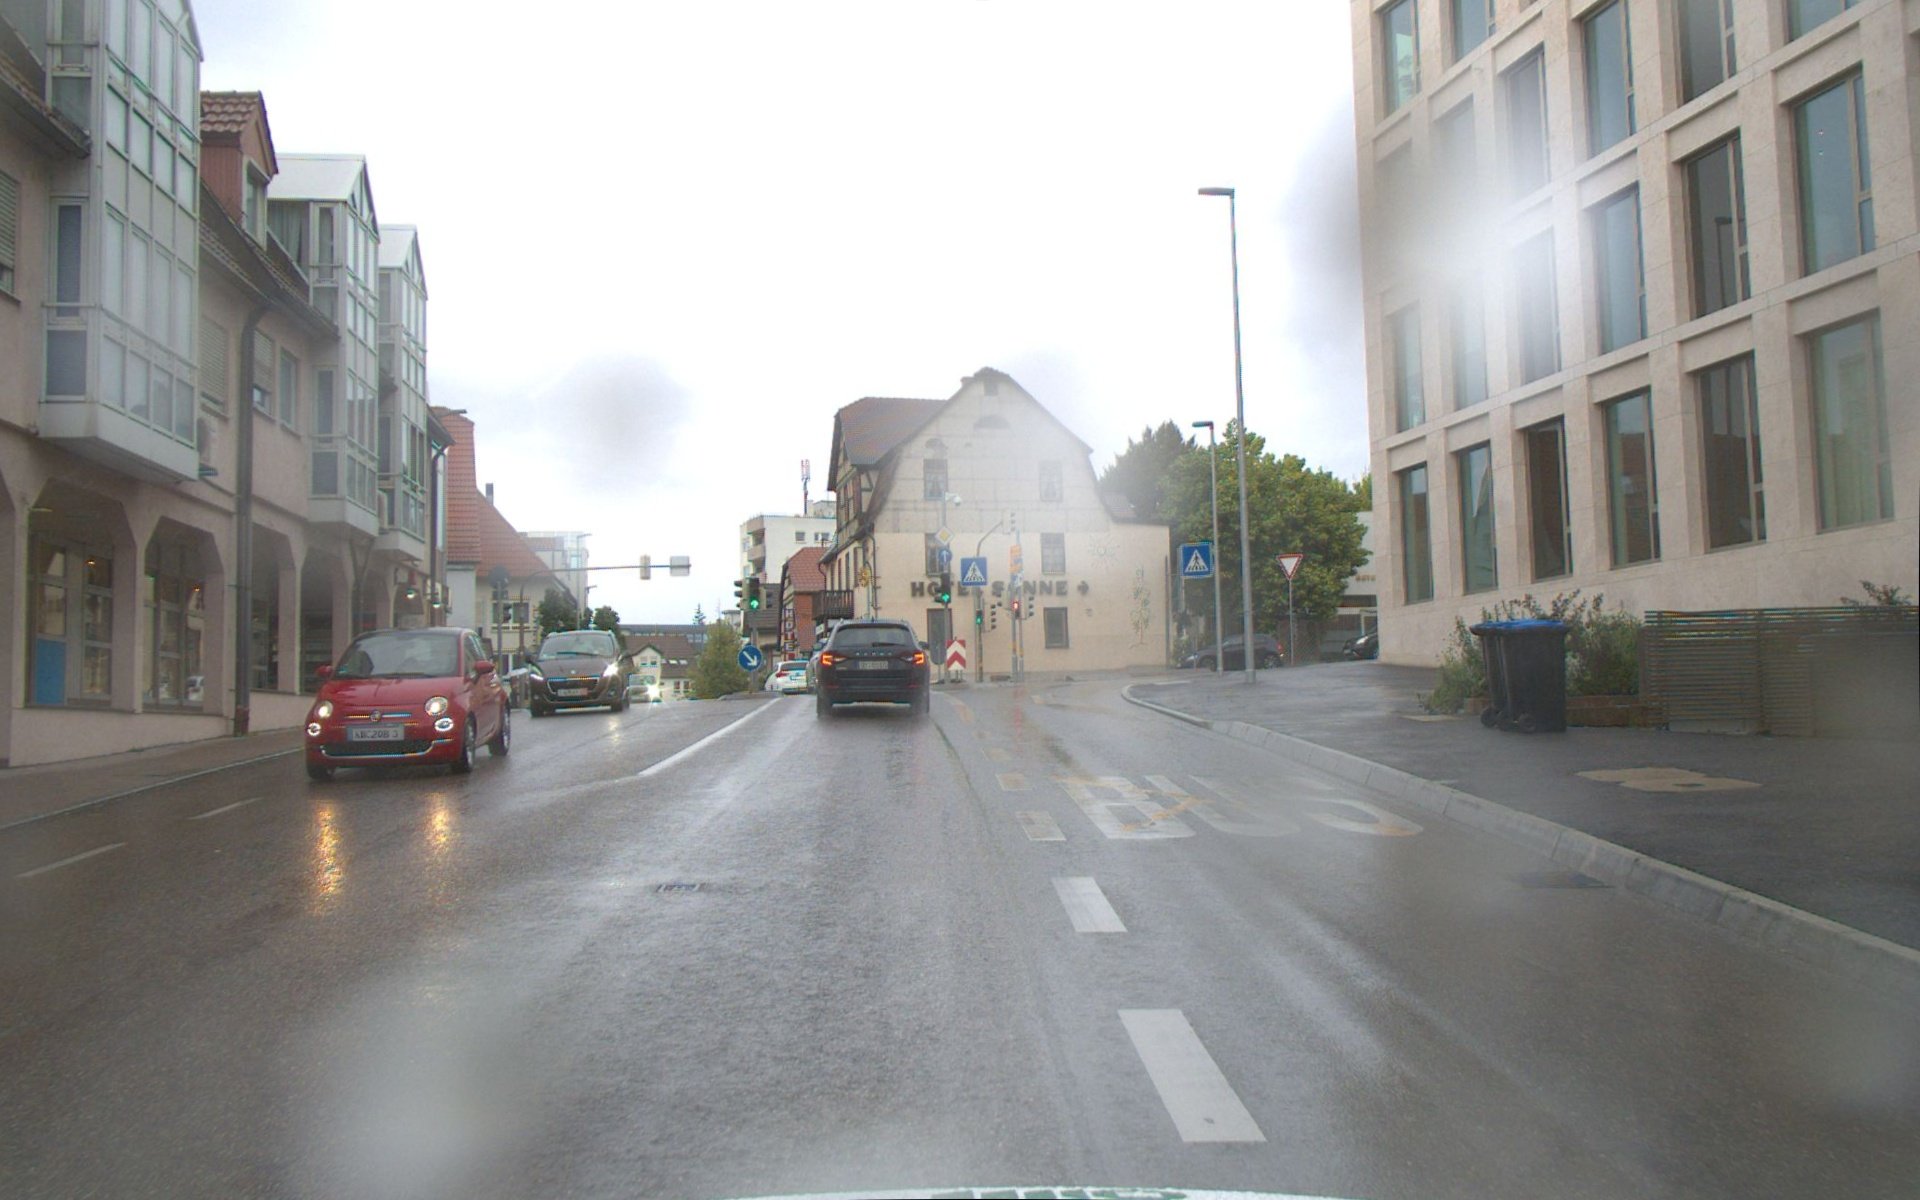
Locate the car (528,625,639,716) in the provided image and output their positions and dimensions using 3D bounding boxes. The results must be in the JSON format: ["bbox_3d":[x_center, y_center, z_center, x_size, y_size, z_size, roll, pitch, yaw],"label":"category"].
[{"bbox_3d":[-7.493,1.352,33.231,1.748,1.658,4.208,-1,-1,-8],"label":"car"}]

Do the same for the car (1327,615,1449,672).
[{"bbox_3d":[16.844,1.733,65.154,4.231,1.847,1.771,-3,-5,-15],"label":"car"}]

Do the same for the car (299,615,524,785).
[{"bbox_3d":[-5.786,0.988,17.807,1.529,1.562,3.444,-3,0,-6],"label":"car"}]

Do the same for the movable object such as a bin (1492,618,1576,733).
[{"bbox_3d":[5.636,0.732,16.263,0.583,1.081,0.579,-2,-1,-1],"label":"movable object such as a bin"}]

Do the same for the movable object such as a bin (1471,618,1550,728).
[{"bbox_3d":[5.637,0.736,16.952,0.583,1.081,0.579,-2,-1,-1],"label":"movable object such as a bin"}]

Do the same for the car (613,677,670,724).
[{"bbox_3d":[-11.917,3.758,62.130,1.852,1.493,3.992,-3,-1,-8],"label":"car"}]

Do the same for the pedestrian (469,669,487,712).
[{"bbox_3d":[-18.307,3.454,62.850,0.583,1.586,0.631,-2,-3,-18],"label":"pedestrian"}]

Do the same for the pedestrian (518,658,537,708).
[{"bbox_3d":[-17.035,3.271,65.165,0.593,1.900,0.744,-2,-3,-18],"label":"pedestrian"}]

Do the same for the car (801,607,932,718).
[{"bbox_3d":[-1.489,0.938,26.780,1.906,1.594,4.414,-1,0,-3],"label":"car"}]

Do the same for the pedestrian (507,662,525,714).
[{"bbox_3d":[-16.841,3.343,62.738,0.526,1.904,0.631,-2,-3,-18],"label":"pedestrian"}]

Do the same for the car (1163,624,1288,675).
[{"bbox_3d":[10.054,1.893,62.708,4.233,1.531,1.770,-3,-6,-17],"label":"car"}]

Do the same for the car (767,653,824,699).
[{"bbox_3d":[-6.051,2.744,60.422,1.852,1.493,3.992,-3,-1,-8],"label":"car"}]

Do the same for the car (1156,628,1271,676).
[{"bbox_3d":[10.194,2.084,66.560,4.104,1.545,1.771,-3,-6,-15],"label":"car"}]
